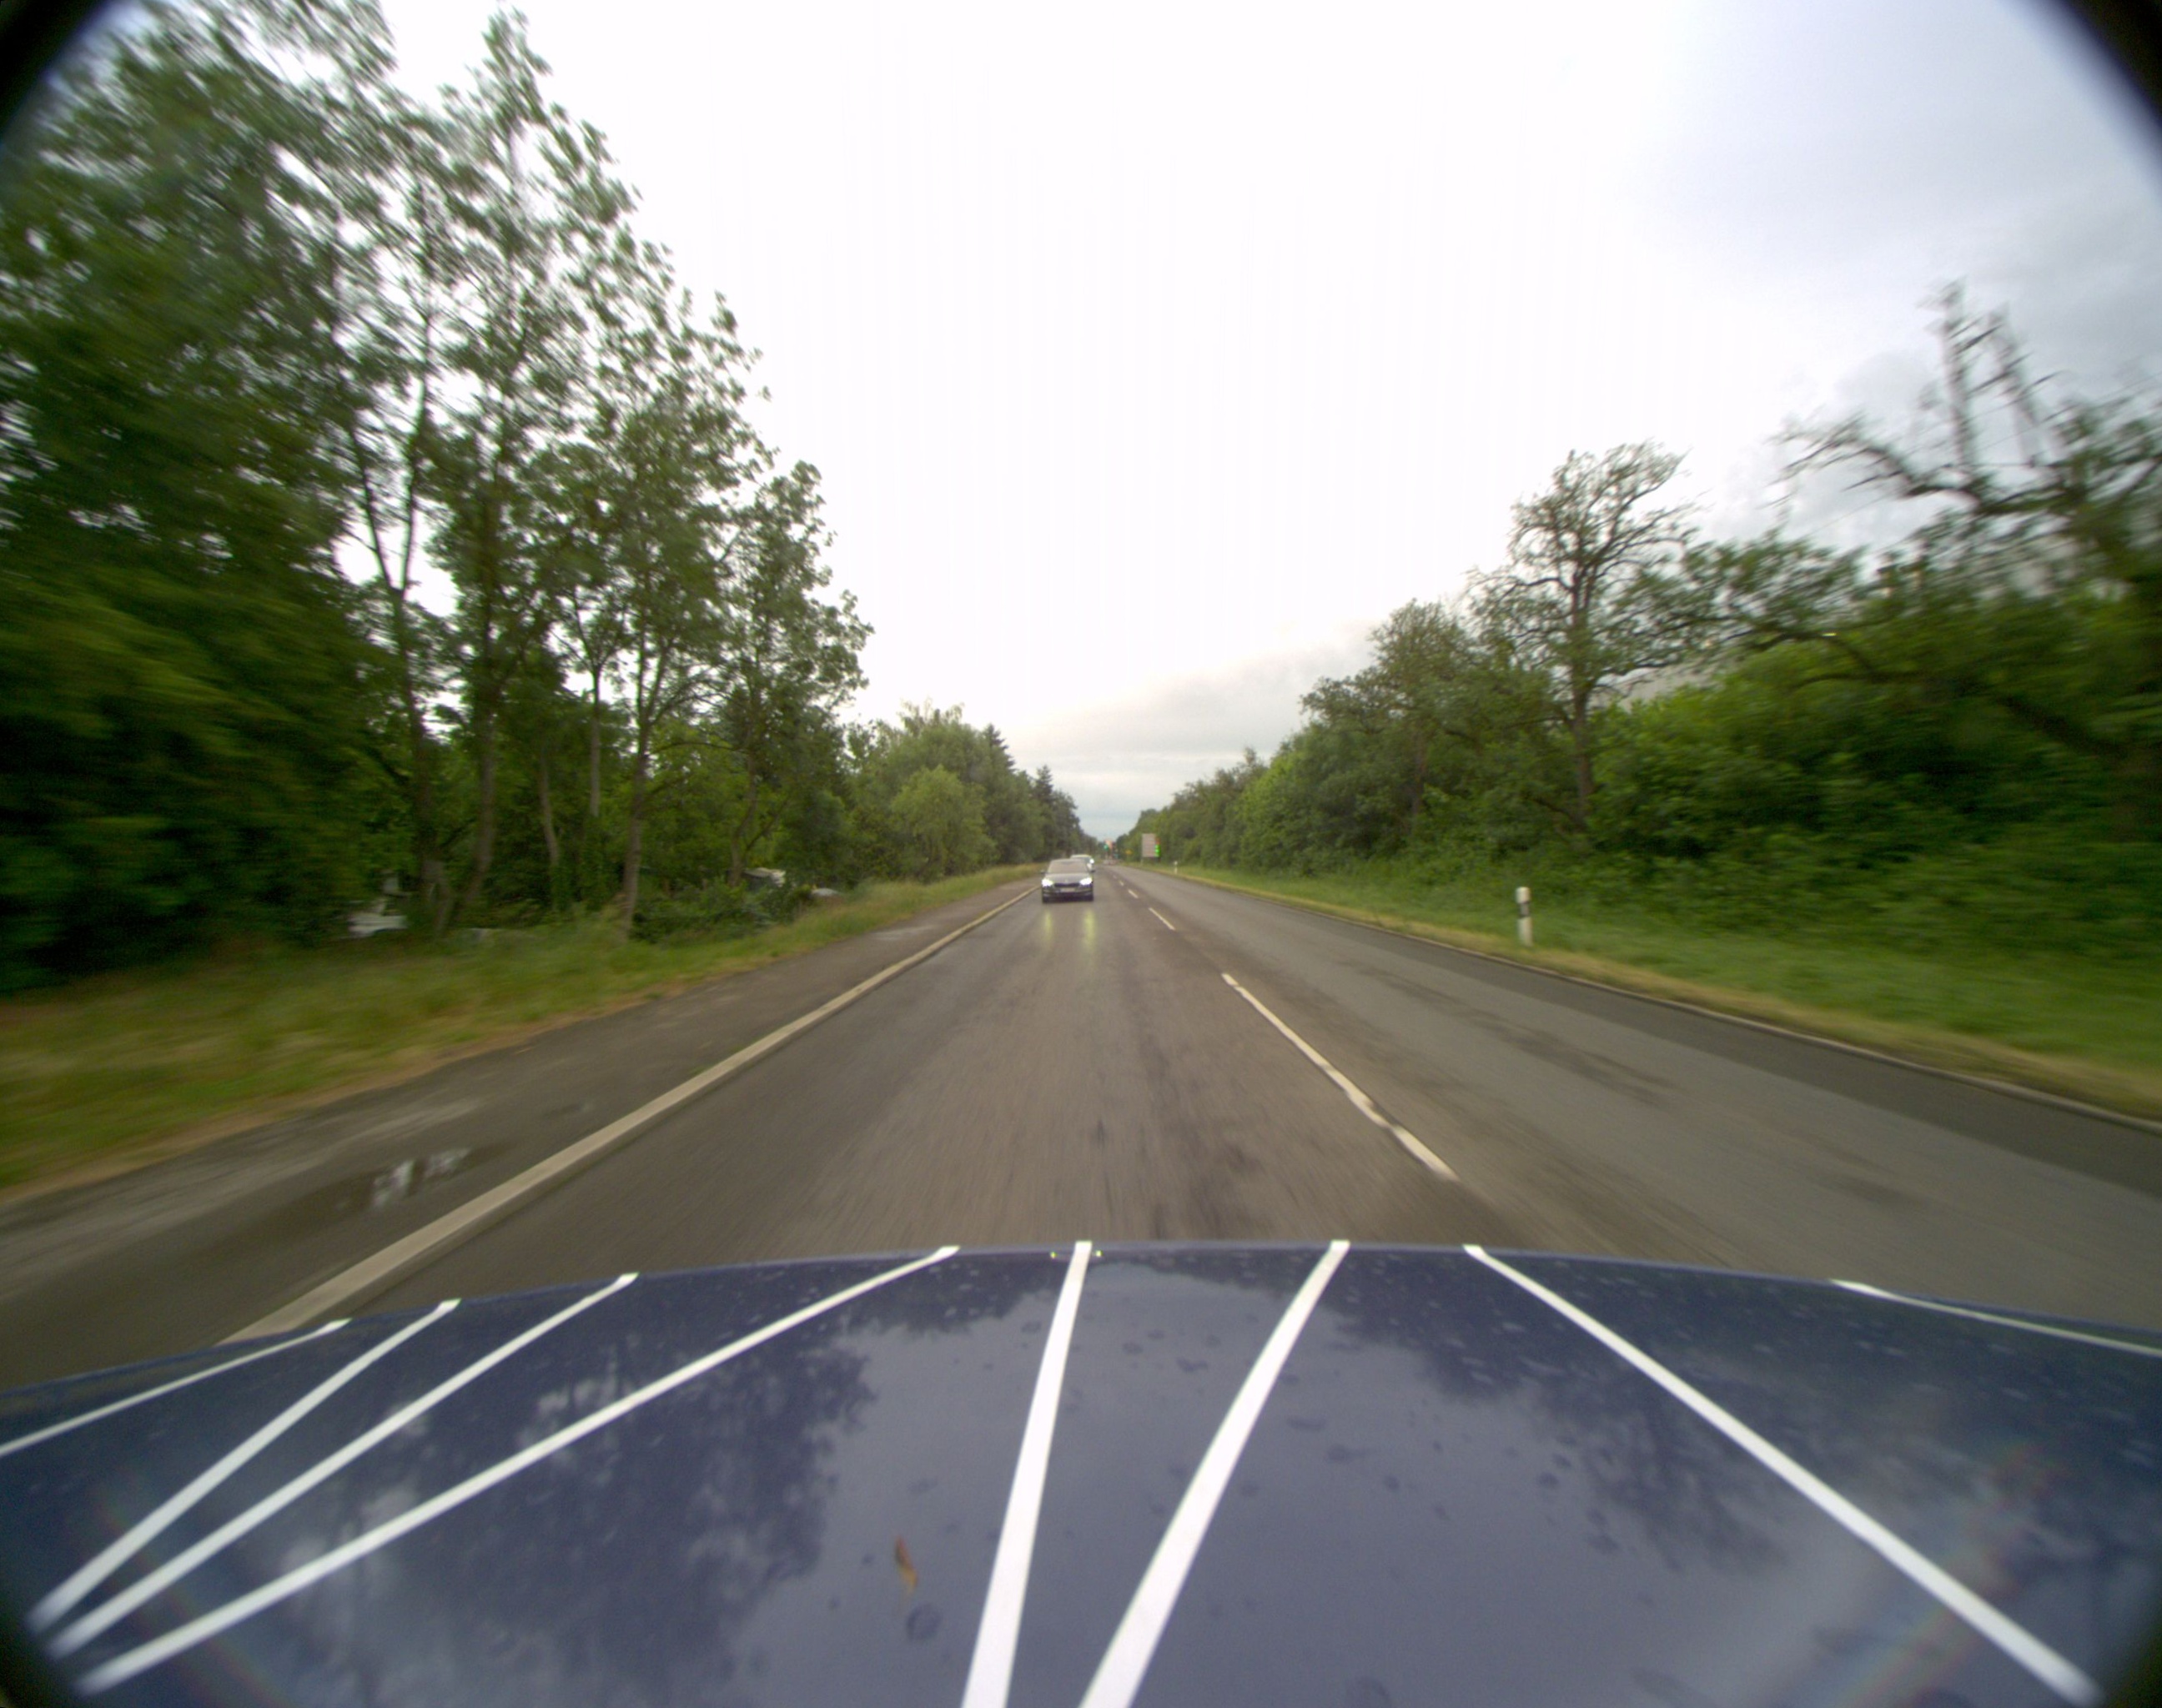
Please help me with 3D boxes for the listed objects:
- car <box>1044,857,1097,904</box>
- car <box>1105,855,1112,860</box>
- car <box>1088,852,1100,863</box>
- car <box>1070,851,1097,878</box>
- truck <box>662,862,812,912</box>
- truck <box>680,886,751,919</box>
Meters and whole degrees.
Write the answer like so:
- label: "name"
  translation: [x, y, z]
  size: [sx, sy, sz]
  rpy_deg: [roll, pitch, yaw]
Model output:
- label: "car"
  translation: [-0.305, 0.888, 27.125]
  size: [1.675, 1.477, 4.215]
  rpy_deg: [-3, 0, 1]
- label: "car"
  translation: [8.174, 0.963, 222.621]
  size: [1.896, 1.346, 4.381]
  rpy_deg: [-1, 0, 0]
- label: "car"
  translation: [2.074, 0.533, 118.969]
  size: [1.856, 1.686, 4.000]
  rpy_deg: [0, 0, 2]
- label: "car"
  translation: [0.175, 0.675, 50.909]
  size: [1.704, 1.724, 3.999]
  rpy_deg: [-1, 0, 0]
- label: "truck"
  translation: [-17.772, 1.695, 39.339]
  size: [7.056, 2.345, 2.068]
  rpy_deg: [-1, 1, 10]
- label: "truck"
  translation: [-17.010, 2.254, 35.462]
  size: [2.357, 1.389, 1.760]
  rpy_deg: [-1, 0, 13]
